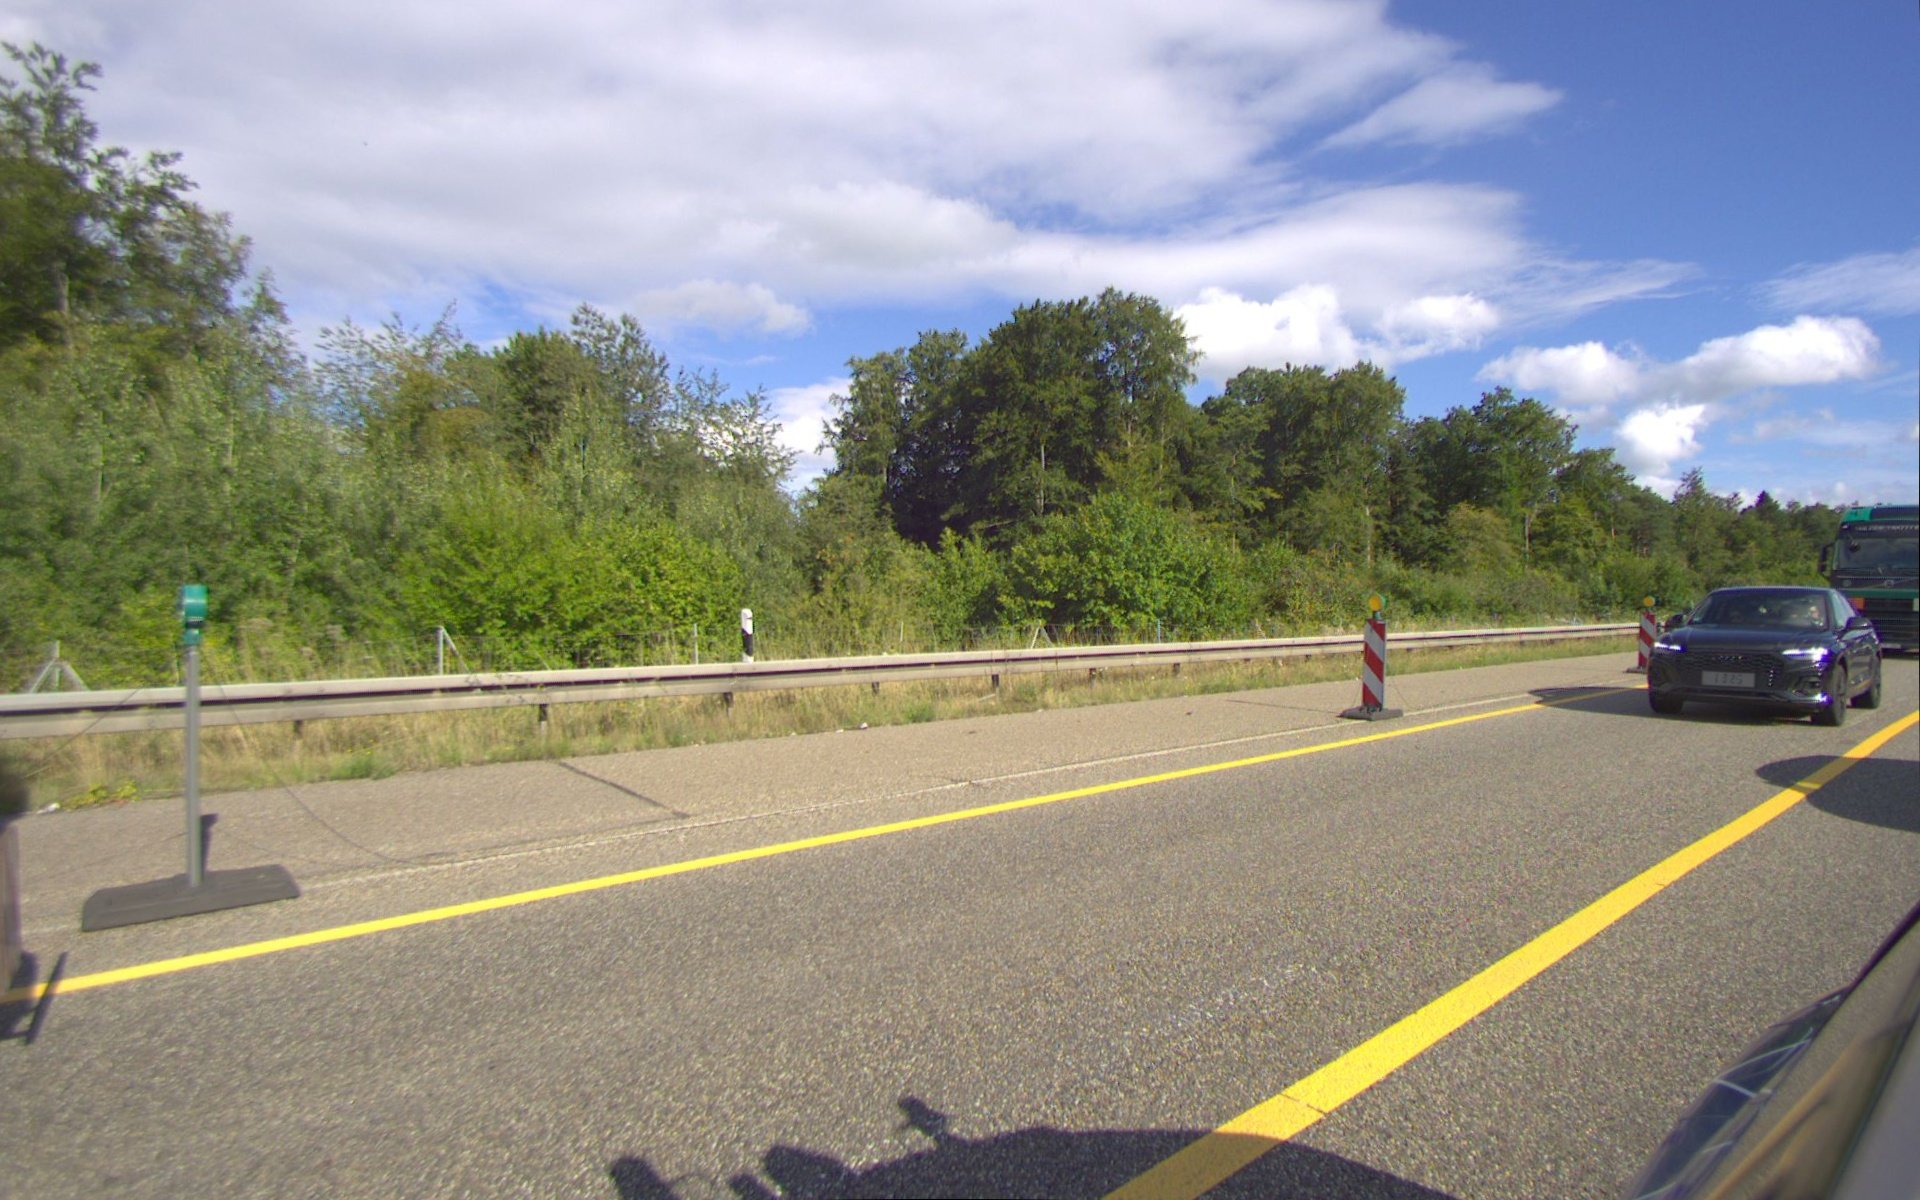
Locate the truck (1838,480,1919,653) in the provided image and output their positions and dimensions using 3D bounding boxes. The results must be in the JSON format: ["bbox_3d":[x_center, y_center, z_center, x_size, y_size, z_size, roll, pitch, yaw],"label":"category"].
[{"bbox_3d":[25.477,-0.854,26.618,6.735,4.151,2.526,-1,0,-40],"label":"truck"}]

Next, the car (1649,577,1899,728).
[{"bbox_3d":[10.539,0.541,12.995,4.219,1.622,1.781,-1,0,-41],"label":"car"}]

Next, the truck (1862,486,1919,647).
[{"bbox_3d":[30.445,-0.873,30.788,13.957,4.196,2.469,0,-1,-40],"label":"truck"}]
